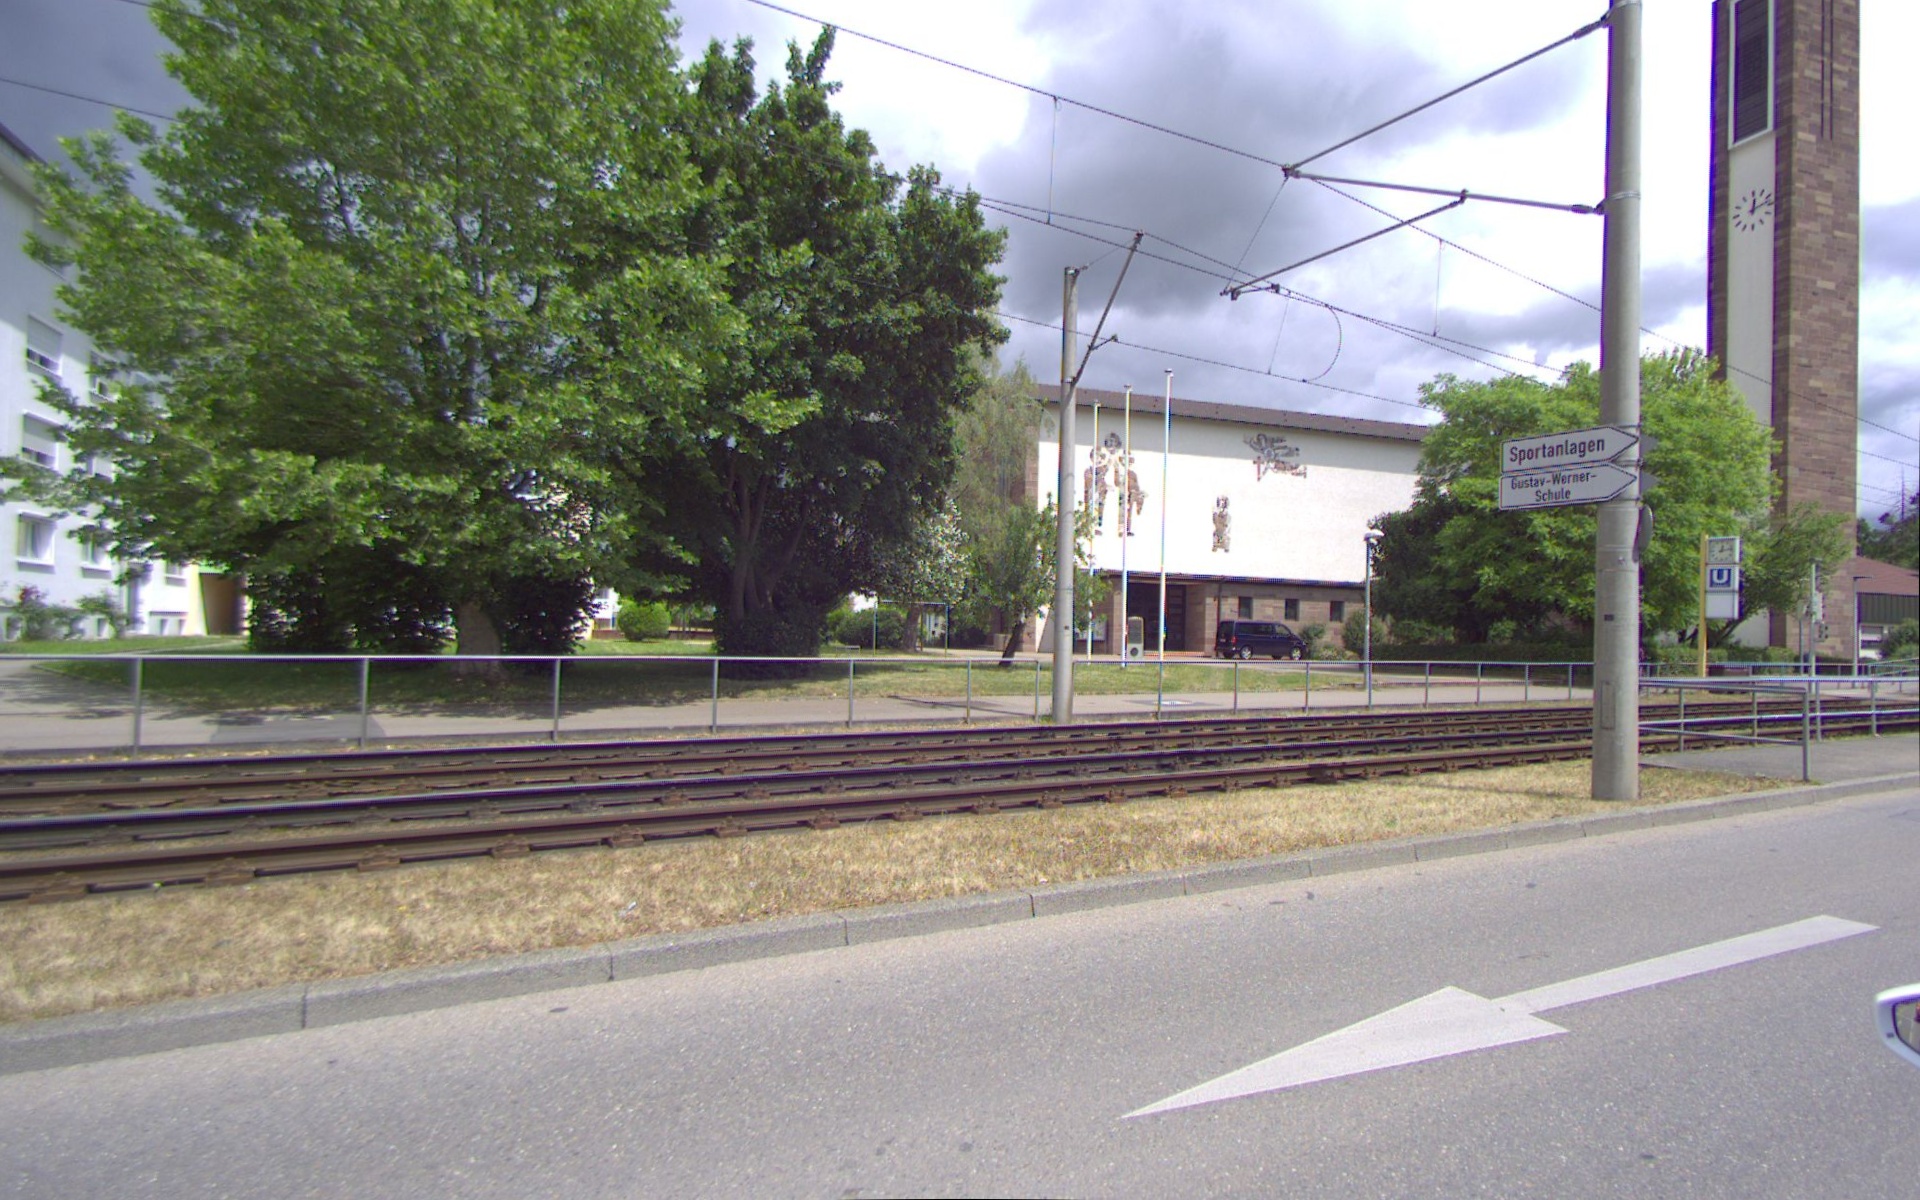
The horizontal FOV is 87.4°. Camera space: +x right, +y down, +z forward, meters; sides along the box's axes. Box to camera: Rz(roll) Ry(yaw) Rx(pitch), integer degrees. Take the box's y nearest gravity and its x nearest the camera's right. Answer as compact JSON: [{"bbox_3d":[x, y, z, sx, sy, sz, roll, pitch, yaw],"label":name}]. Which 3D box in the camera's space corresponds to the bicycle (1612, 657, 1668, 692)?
[{"bbox_3d":[20.656,2.269,30.491,1.906,1.007,0.634,3,0,-31],"label":"bicycle"}]

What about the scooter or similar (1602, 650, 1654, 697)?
[{"bbox_3d":[18.690,2.048,28.096,1.384,1.253,0.646,2,0,-30],"label":"scooter or similar"}]

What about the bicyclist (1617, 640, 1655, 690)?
[{"bbox_3d":[20.508,1.978,30.482,0.781,1.448,0.630,3,0,-30],"label":"bicyclist"}]

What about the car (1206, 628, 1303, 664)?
[{"bbox_3d":[15.289,2.395,52.250,4.399,1.595,1.995,3,0,-13],"label":"car"}]
